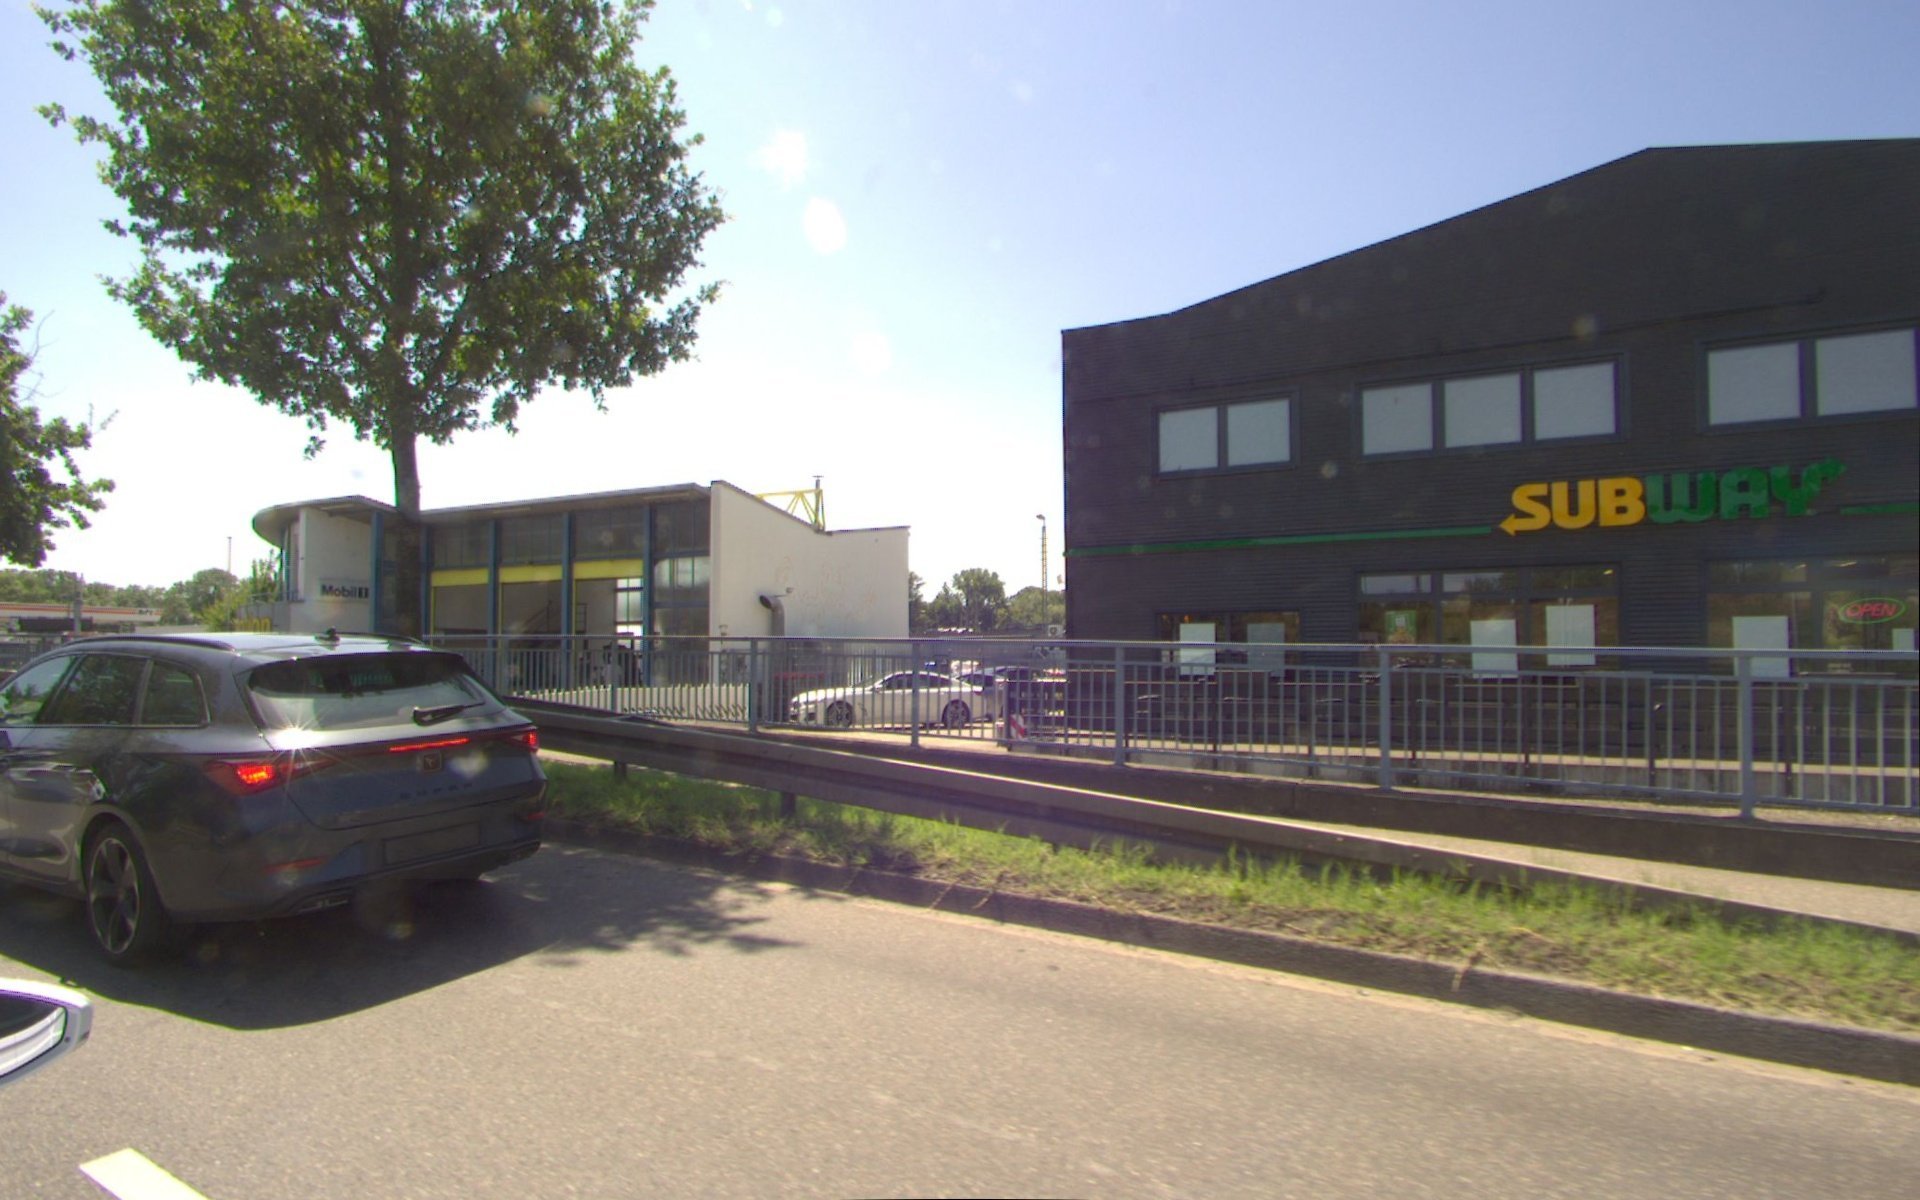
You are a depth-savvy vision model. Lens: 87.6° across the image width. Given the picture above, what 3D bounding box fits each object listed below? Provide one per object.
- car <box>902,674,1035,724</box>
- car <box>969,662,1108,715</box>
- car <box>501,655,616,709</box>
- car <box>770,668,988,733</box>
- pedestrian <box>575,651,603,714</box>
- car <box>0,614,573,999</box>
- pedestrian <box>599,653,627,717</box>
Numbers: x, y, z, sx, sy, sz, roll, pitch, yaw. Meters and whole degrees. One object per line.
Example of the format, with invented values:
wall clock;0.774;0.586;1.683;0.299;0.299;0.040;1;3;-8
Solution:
car;0.233;2.799;28.601;3.549;1.269;1.478;1;-2;-16
car;2.604;2.877;33.072;4.330;1.578;1.651;1;-2;-25
car;-13.853;2.781;34.735;1.622;1.705;3.672;-1;-2;22
car;-1.982;2.414;24.743;5.002;1.375;1.994;1;-2;-25
pedestrian;-10.235;2.262;27.632;0.480;1.724;0.521;-1;-1;27
car;-4.235;0.862;5.579;4.171;1.474;1.603;-1;-2;29
pedestrian;-9.483;2.305;27.375;0.580;1.724;0.426;-1;-1;26
